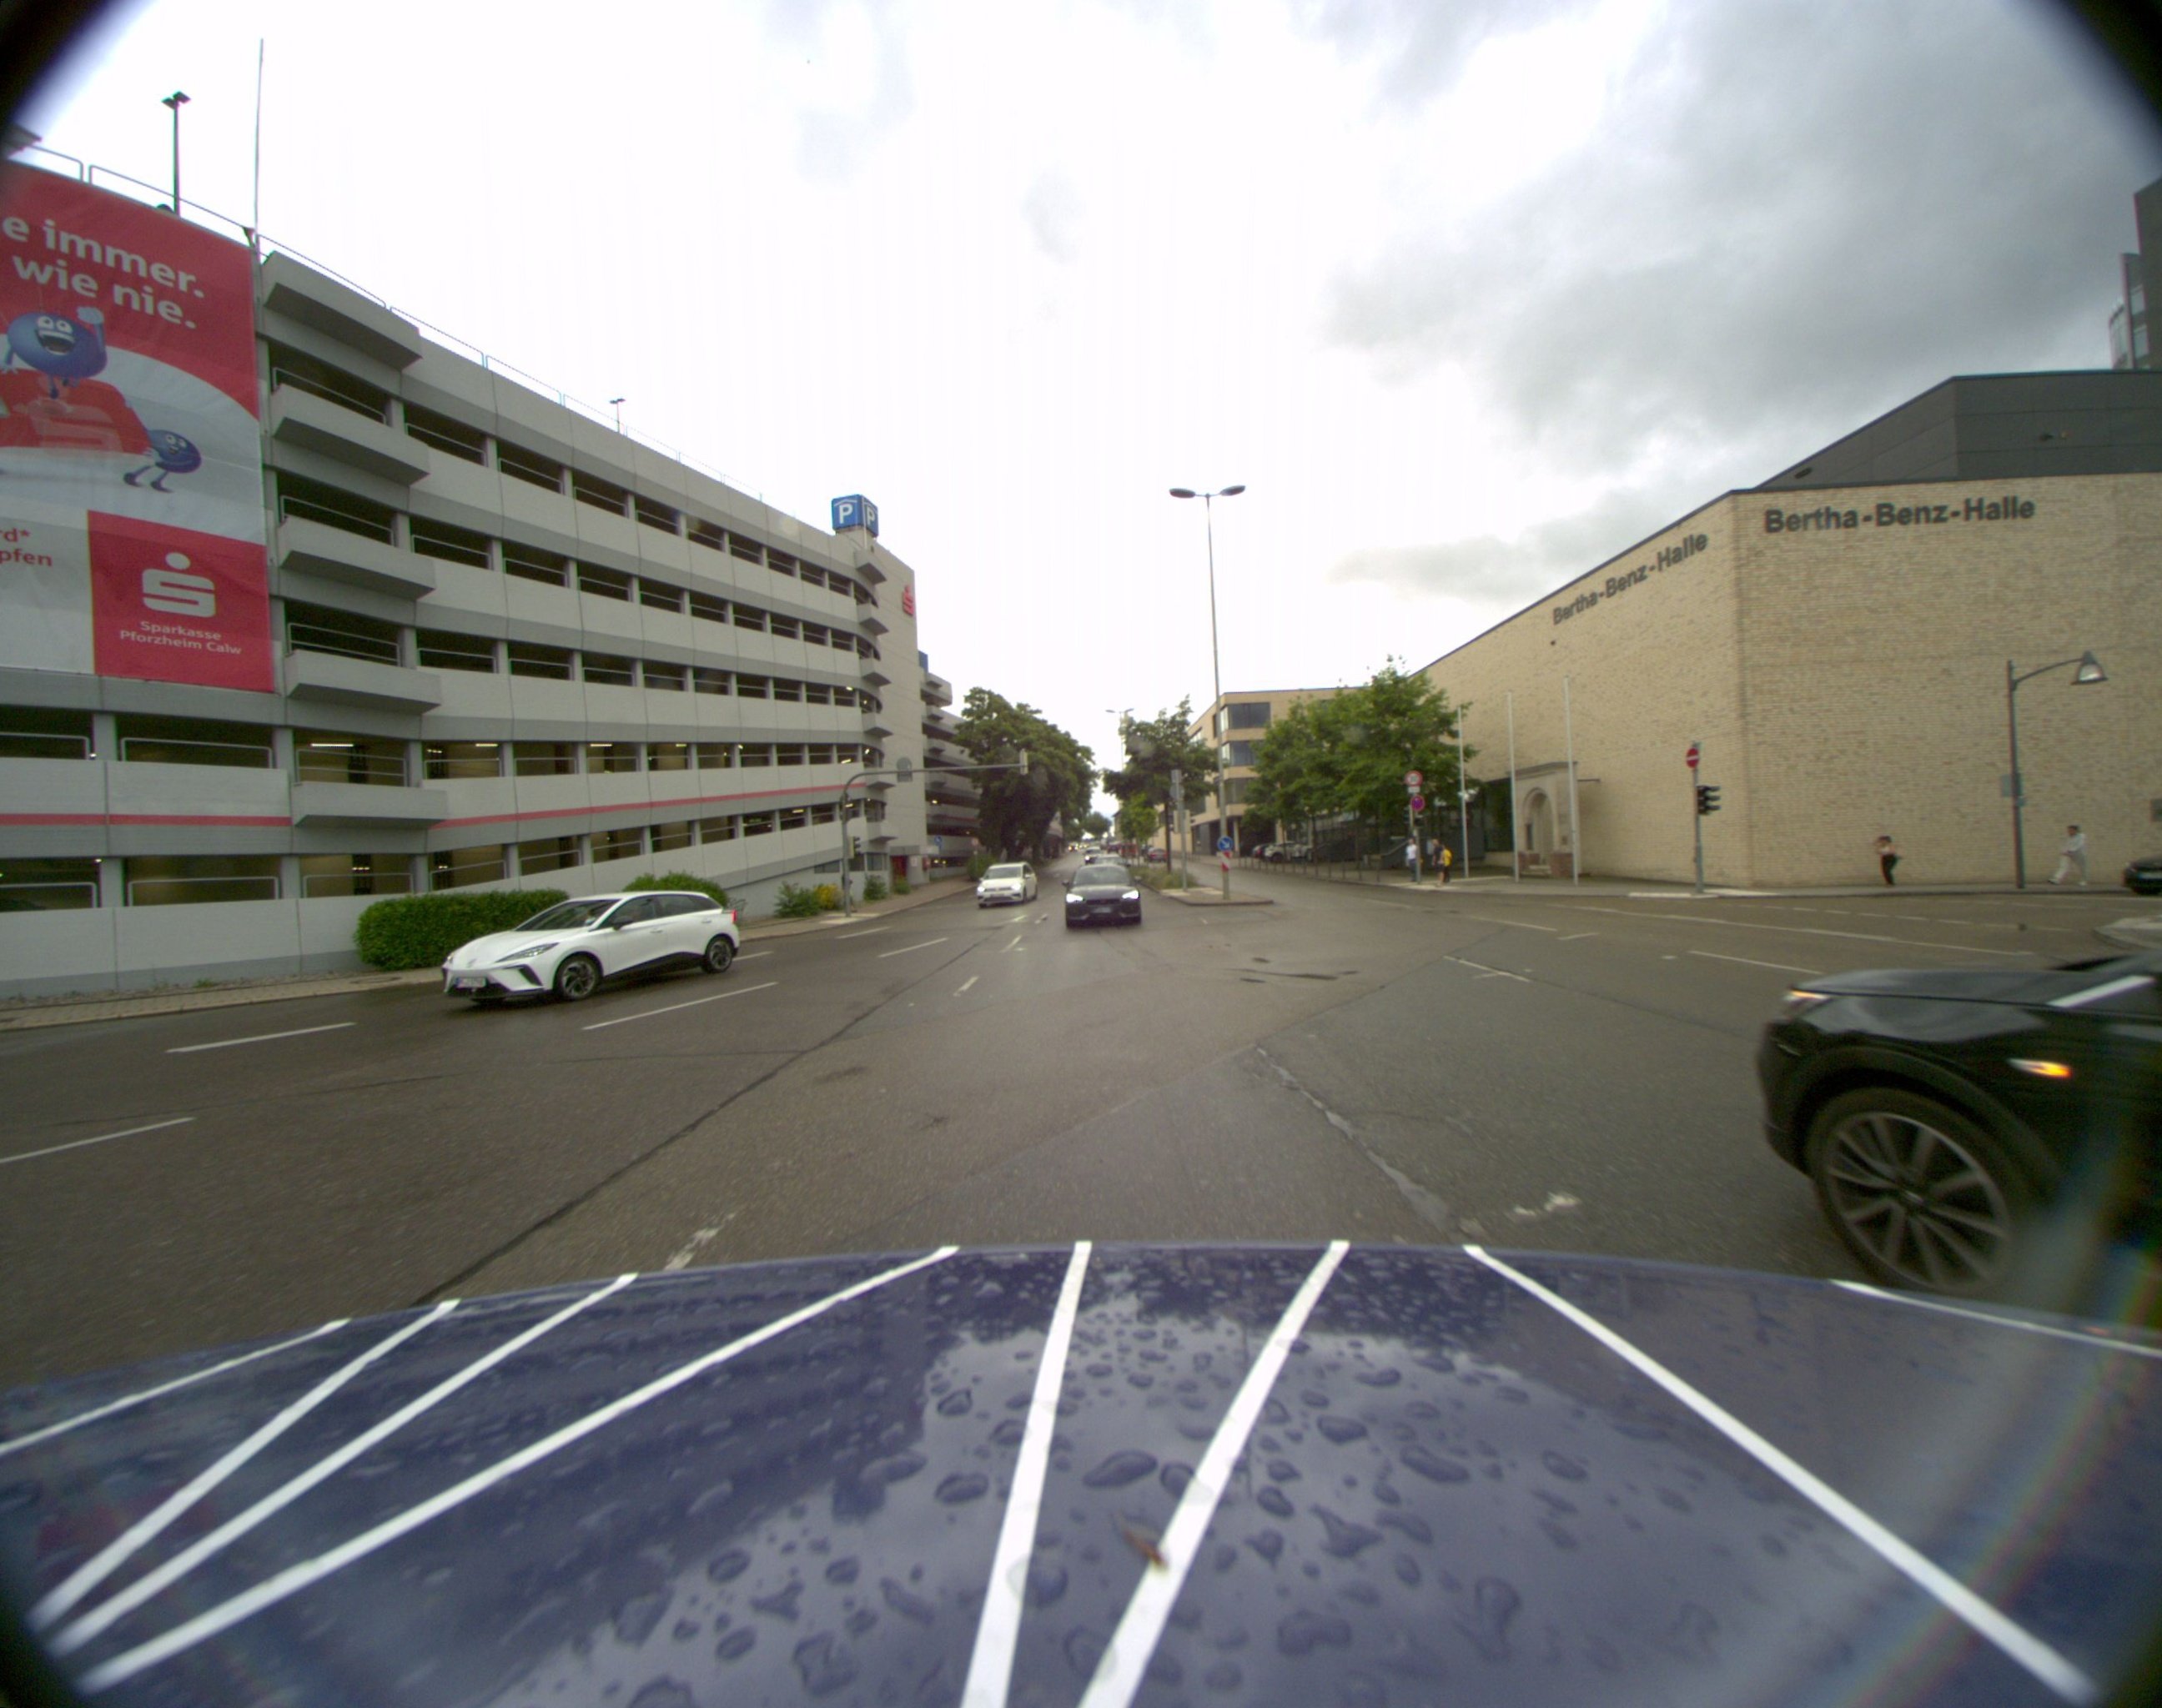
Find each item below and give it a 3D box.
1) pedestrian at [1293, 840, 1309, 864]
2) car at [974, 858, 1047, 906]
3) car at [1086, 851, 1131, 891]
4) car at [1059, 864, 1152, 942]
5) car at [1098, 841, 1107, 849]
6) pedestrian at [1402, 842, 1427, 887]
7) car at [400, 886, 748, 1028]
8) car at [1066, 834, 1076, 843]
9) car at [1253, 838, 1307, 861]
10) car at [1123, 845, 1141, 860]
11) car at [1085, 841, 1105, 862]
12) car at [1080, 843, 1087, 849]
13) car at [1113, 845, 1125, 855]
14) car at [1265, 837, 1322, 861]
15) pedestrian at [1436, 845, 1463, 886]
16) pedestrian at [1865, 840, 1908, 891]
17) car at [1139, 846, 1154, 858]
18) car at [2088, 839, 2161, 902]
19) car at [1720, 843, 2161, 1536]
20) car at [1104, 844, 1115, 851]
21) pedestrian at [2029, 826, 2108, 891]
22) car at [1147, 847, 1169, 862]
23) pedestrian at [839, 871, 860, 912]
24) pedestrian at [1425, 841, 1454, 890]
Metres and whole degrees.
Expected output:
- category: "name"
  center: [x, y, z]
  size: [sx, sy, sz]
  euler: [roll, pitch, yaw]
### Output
- category: "pedestrian"
  center: [15.897, -0.167, 54.911]
  size: [0.804, 1.638, 0.976]
  euler: [-4, 1, 7]
- category: "car"
  center: [-2.735, 1.072, 30.478]
  size: [1.997, 1.716, 4.402]
  euler: [-2, 0, 7]
- category: "car"
  center: [1.246, 0.775, 36.379]
  size: [1.846, 1.647, 3.999]
  euler: [-4, 1, -1]
- category: "car"
  center: [0.448, 1.038, 17.939]
  size: [1.739, 1.380, 4.581]
  euler: [-4, 1, -3]
- category: "car"
  center: [5.375, -2.285, 189.589]
  size: [1.855, 1.841, 4.299]
  euler: [0, 0, -2]
- category: "pedestrian"
  center: [13.364, 0.417, 30.459]
  size: [0.596, 1.721, 0.692]
  euler: [-4, 1, -5]
- category: "car"
  center: [-7.453, 1.436, 11.789]
  size: [1.803, 1.469, 4.213]
  euler: [-5, 0, 16]
- category: "car"
  center: [-2.233, -3.433, 168.929]
  size: [1.998, 1.716, 4.400]
  euler: [-2, 0, 0]
- category: "car"
  center: [16.562, -0.385, 63.448]
  size: [3.996, 1.576, 2.000]
  euler: [-4, 1, 4]
- category: "car"
  center: [6.461, -0.232, 96.765]
  size: [1.855, 1.841, 4.299]
  euler: [0, 0, -2]
- category: "car"
  center: [1.407, -0.262, 75.531]
  size: [1.805, 1.818, 3.949]
  euler: [-5, 0, 1]
- category: "car"
  center: [0.787, -2.208, 213.292]
  size: [1.998, 1.716, 4.400]
  euler: [-2, 0, 0]
- category: "car"
  center: [6.310, -0.611, 127.006]
  size: [1.676, 1.598, 4.299]
  euler: [0, 0, -2]
- category: "car"
  center: [16.985, -0.382, 60.970]
  size: [3.996, 1.576, 2.000]
  euler: [-4, 1, 4]
- category: "pedestrian"
  center: [14.107, 0.446, 29.133]
  size: [0.595, 1.508, 0.692]
  euler: [-4, 1, -1]
- category: "pedestrian"
  center: [22.404, 0.314, 21.139]
  size: [0.622, 1.368, 0.475]
  euler: [-4, 1, 1]
- category: "car"
  center: [8.929, -0.237, 103.816]
  size: [1.676, 1.598, 4.299]
  euler: [0, 0, -2]
- category: "car"
  center: [26.484, 0.395, 17.559]
  size: [3.998, 1.433, 1.999]
  euler: [1, 0, -4]
- category: "car"
  center: [3.426, 0.800, 0.861]
  size: [1.812, 1.585, 4.295]
  euler: [-3, 0, 1]
- category: "car"
  center: [5.913, -1.356, 158.640]
  size: [2.028, 1.598, 4.299]
  euler: [0, 0, -2]
- category: "pedestrian"
  center: [27.364, 0.132, 21.068]
  size: [1.113, 1.690, 0.807]
  euler: [-4, 1, -2]
- category: "car"
  center: [7.816, 0.054, 77.102]
  size: [1.675, 1.461, 4.299]
  euler: [-1, 0, -2]
- category: "pedestrian"
  center: [-9.478, 1.530, 31.096]
  size: [0.584, 1.650, 0.519]
  euler: [0, 2, 17]
- category: "pedestrian"
  center: [13.079, 0.413, 27.716]
  size: [0.595, 1.761, 0.692]
  euler: [-4, 1, -1]
